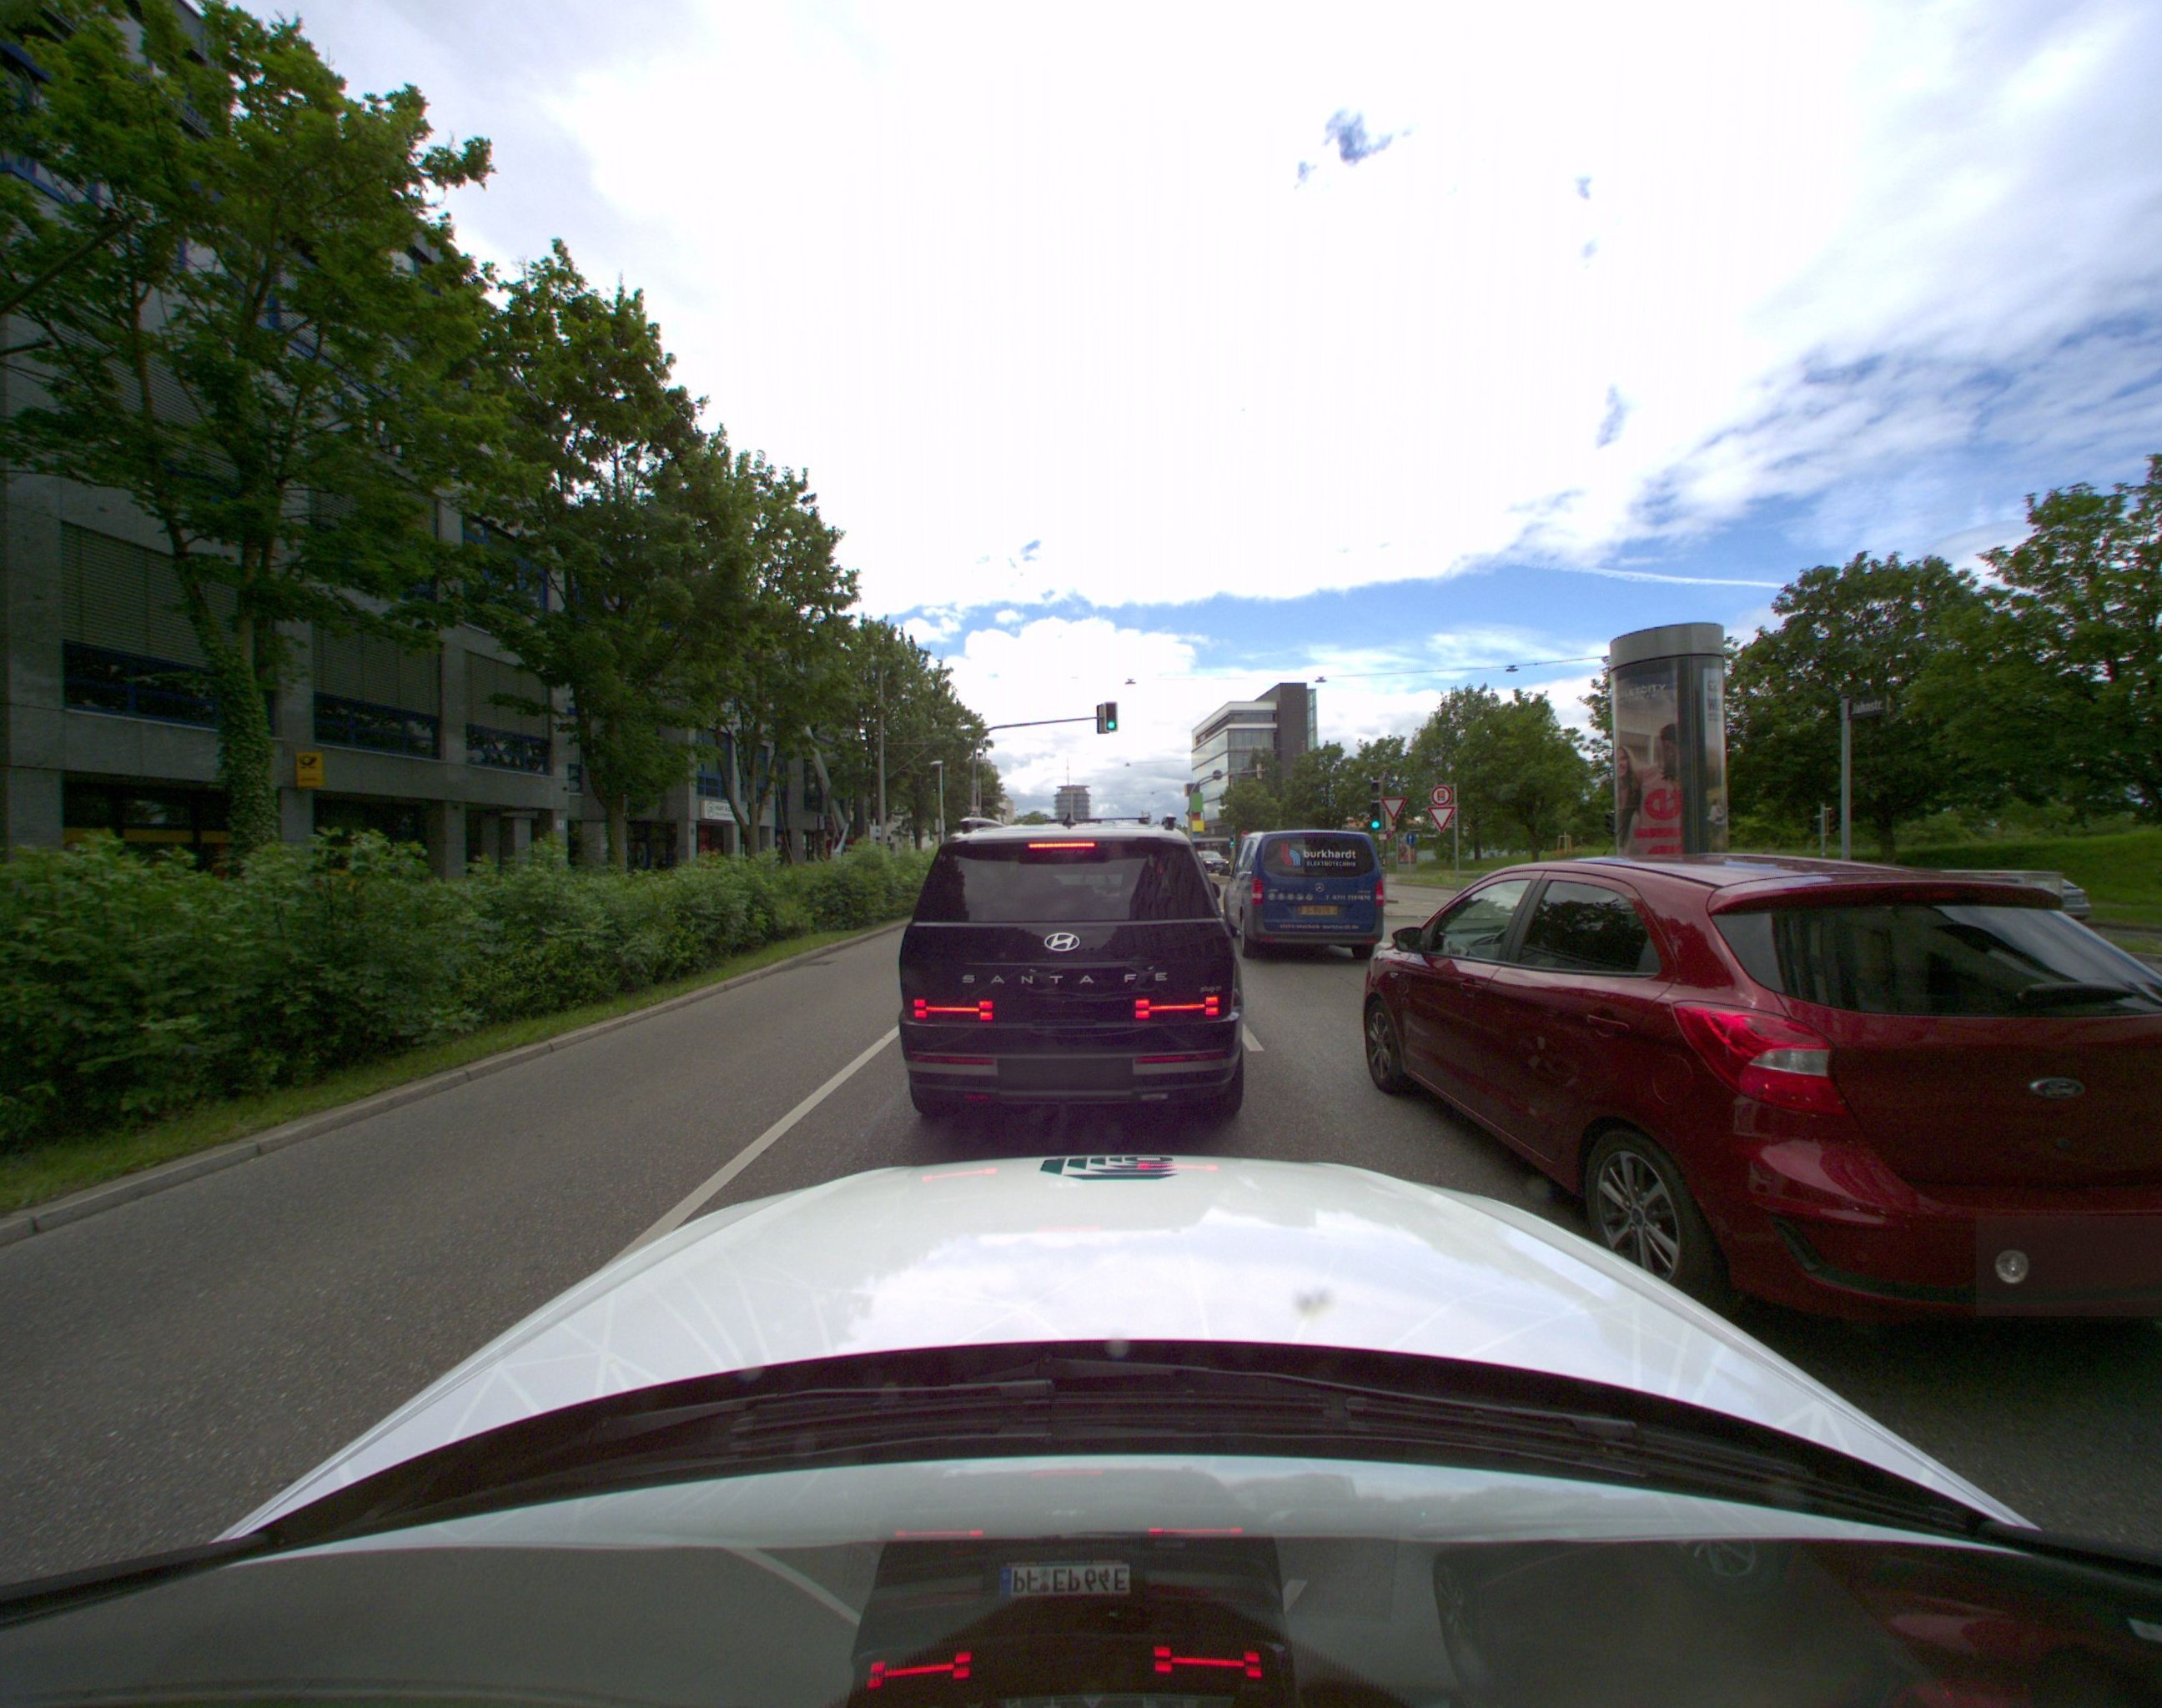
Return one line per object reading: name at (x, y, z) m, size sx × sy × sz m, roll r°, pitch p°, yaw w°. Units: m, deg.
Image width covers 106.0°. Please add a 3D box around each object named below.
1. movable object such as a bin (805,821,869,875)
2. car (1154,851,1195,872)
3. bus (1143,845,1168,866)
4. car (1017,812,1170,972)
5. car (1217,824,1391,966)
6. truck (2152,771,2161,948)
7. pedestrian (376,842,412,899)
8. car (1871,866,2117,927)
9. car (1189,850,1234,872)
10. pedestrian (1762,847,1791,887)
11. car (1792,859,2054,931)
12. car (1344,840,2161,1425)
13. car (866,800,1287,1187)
movable object such as a bin at (-12.242, -0.305, 41.147) m, size 1.898 × 2.531 × 4.128 m, roll 1°, pitch 0°, yaw 1°
car at (6.683, 0.486, 58.680) m, size 1.782 × 1.425 × 4.382 m, roll 0°, pitch 1°, yaw -9°
bus at (12.136, 0.290, 133.160) m, size 2.958 × 3.116 × 9.238 m, roll -2°, pitch -1°, yaw -1°
car at (0.394, 0.456, 12.457) m, size 1.892 × 1.969 × 4.644 m, roll 0°, pitch 0°, yaw 6°
car at (3.346, 0.535, 13.166) m, size 1.893 × 1.859 × 4.715 m, roll 0°, pitch 0°, yaw 5°
truck at (26.231, 0.153, 13.871) m, size 2.821 × 3.925 × 9.420 m, roll 0°, pitch 0°, yaw -12°
pedestrian at (-16.476, 0.386, 19.543) m, size 0.364 × 1.334 × 0.558 m, roll 2°, pitch 0°, yaw -3°
car at (25.012, 1.102, 22.553) m, size 1.984 × 1.442 × 4.144 m, roll 0°, pitch 0°, yaw -11°
car at (9.566, 0.480, 59.914) m, size 1.889 × 1.564 × 4.380 m, roll 0°, pitch 1°, yaw -11°
pedestrian at (28.830, 0.525, 33.777) m, size 0.538 × 1.604 × 0.703 m, roll -5°, pitch 1°, yaw 4°
car at (21.626, 0.972, 21.225) m, size 1.850 × 1.529 × 4.472 m, roll 0°, pitch 1°, yaw -11°
car at (2.723, 0.701, 3.934) m, size 1.739 × 1.481 × 3.718 m, roll 0°, pitch 0°, yaw 0°
car at (0.049, 0.619, 5.907) m, size 1.895 × 1.731 × 4.448 m, roll 0°, pitch 0°, yaw 2°
